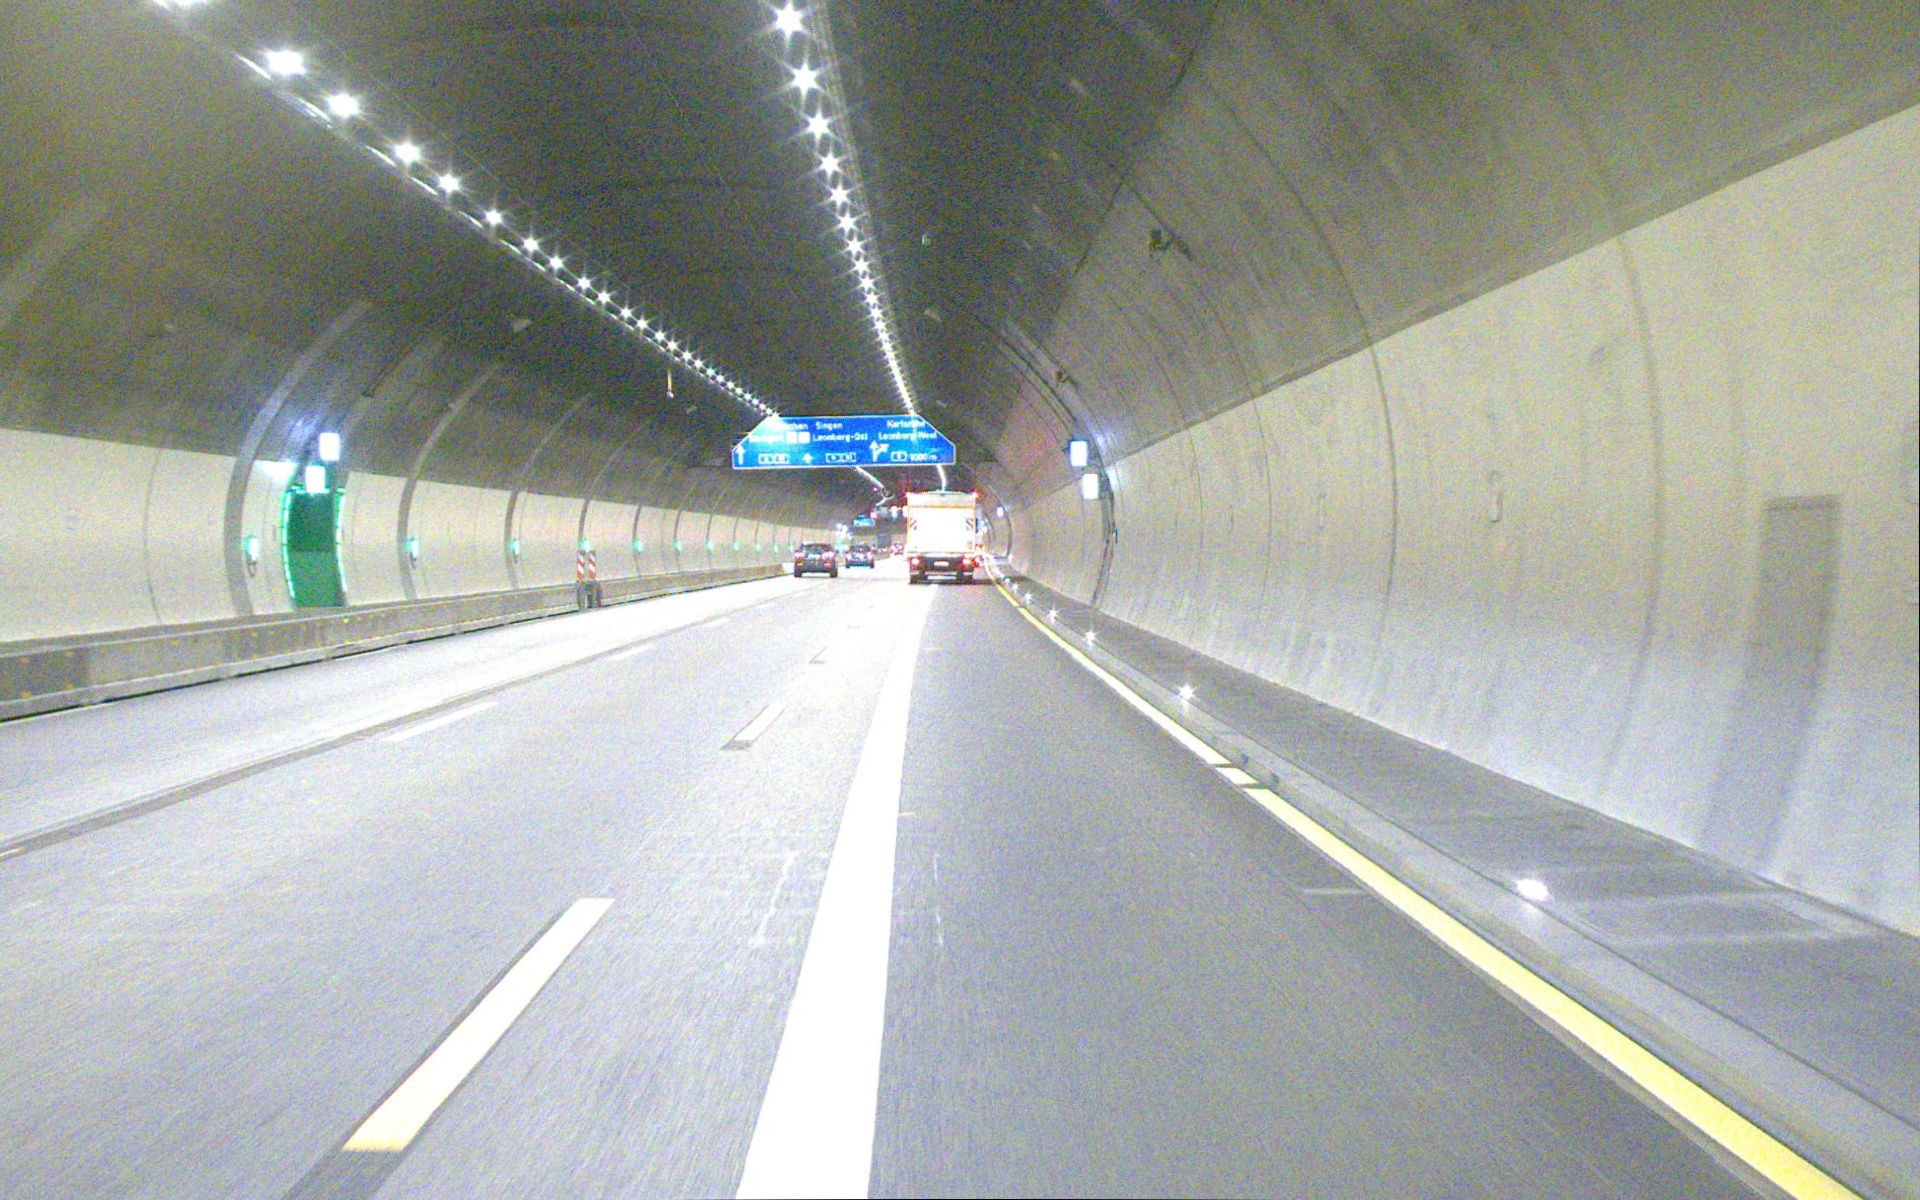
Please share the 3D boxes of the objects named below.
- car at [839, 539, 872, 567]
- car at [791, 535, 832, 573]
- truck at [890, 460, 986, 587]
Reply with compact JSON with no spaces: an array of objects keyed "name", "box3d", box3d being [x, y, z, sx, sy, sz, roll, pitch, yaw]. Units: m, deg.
[{"name":"car","box3d":[-6.333,-2.847,208.164,1.812,1.514,4.001,0,3,-4]},{"name":"car","box3d":[-6.577,-2.040,152.332,1.812,1.612,4.001,1,1,-2]},{"name":"truck","box3d":[-0.995,-3.008,135.543,3.278,4.634,17.288,-1,1,-2]}]
